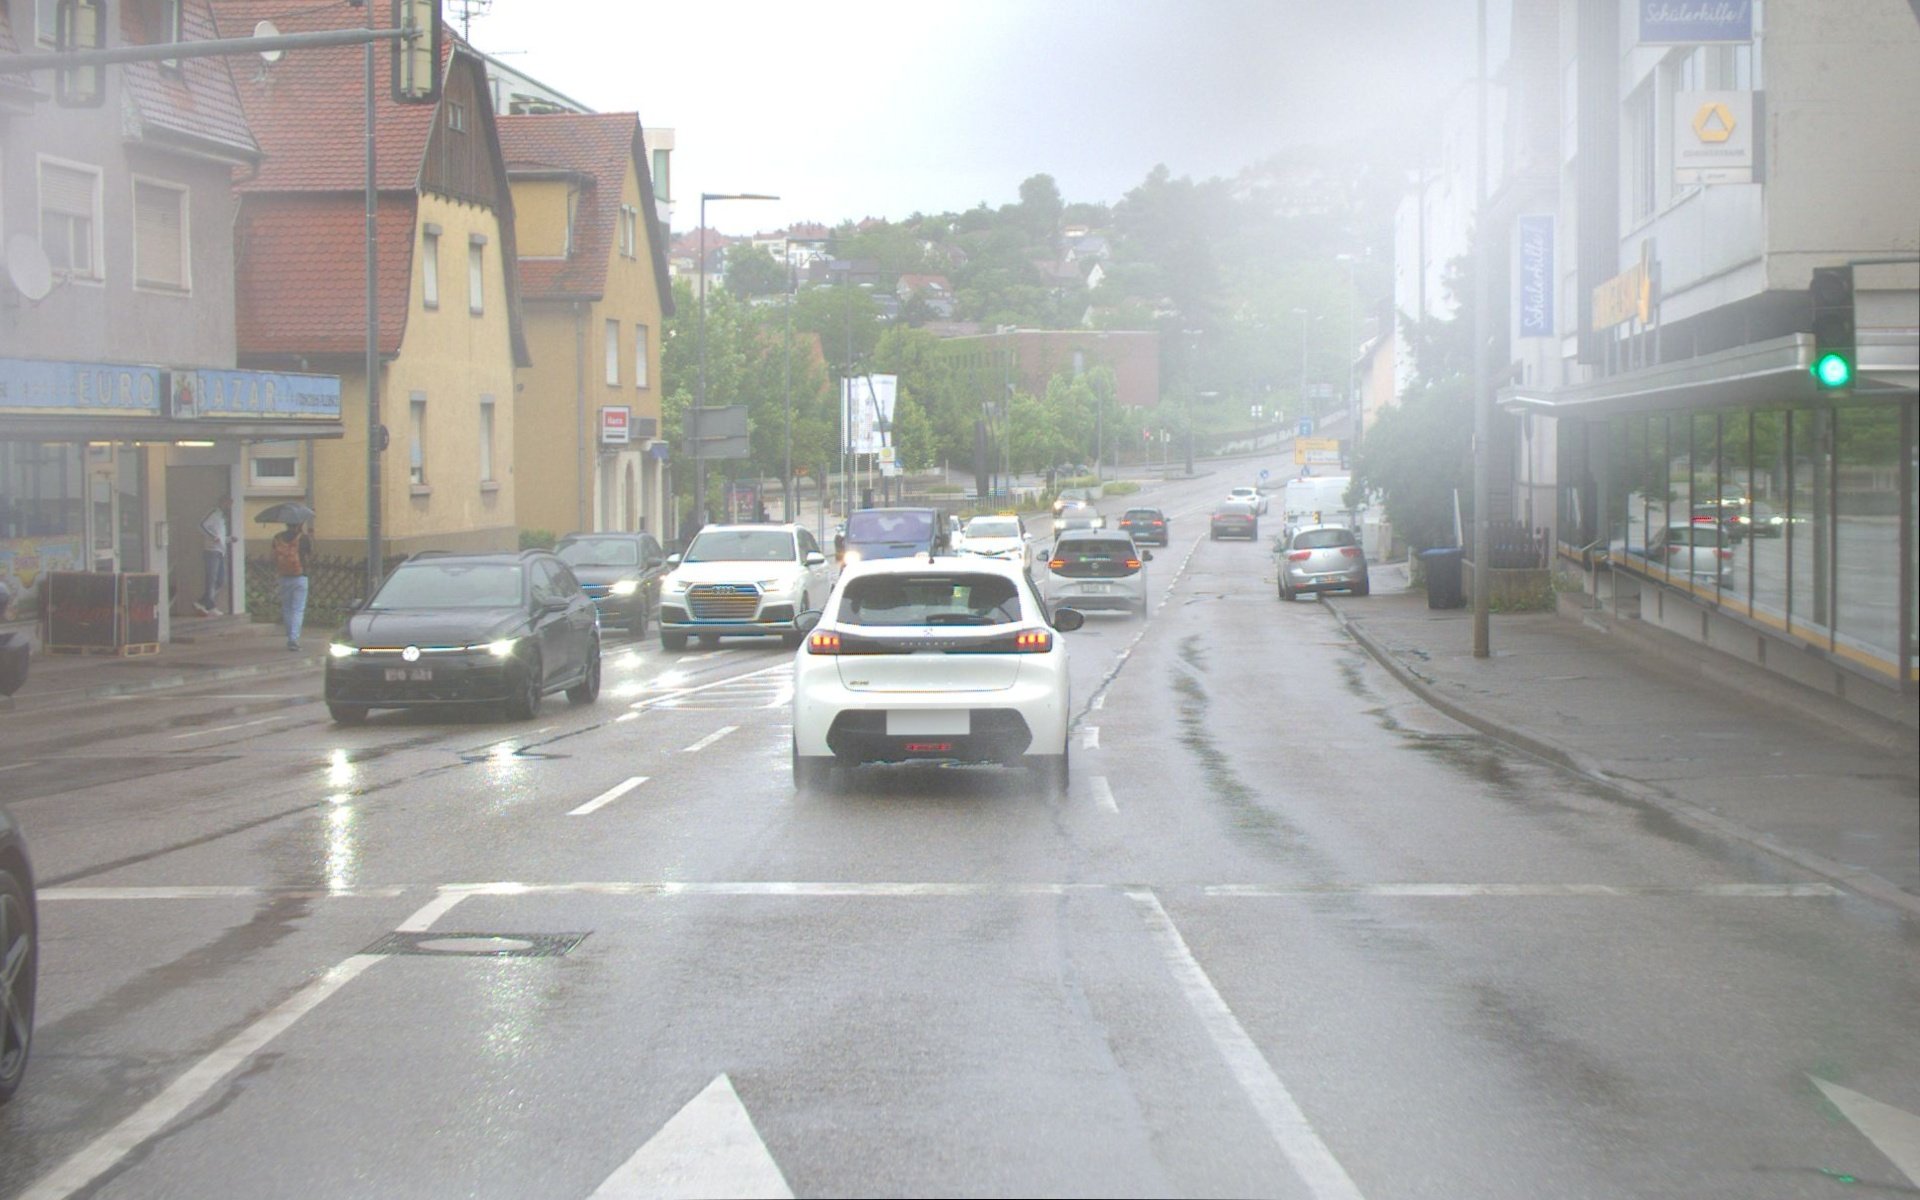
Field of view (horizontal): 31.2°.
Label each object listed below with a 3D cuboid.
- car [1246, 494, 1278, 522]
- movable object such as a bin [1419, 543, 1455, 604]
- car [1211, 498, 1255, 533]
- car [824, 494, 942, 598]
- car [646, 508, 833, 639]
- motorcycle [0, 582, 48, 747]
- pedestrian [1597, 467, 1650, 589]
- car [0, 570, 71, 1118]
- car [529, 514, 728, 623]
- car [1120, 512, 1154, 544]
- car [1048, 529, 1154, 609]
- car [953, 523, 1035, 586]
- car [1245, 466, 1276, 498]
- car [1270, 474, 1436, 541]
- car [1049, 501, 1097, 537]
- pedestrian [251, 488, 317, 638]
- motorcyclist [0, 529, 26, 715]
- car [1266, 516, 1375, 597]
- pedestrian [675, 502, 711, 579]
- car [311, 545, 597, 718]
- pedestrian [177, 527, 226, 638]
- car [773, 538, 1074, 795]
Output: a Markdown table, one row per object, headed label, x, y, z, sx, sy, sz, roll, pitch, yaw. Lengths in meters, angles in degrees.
| label | x | y | z | sx | sy | sz | roll | pitch | yaw |
| --- | --- | --- | --- | --- | --- | --- | --- | --- | --- |
| car | 16.390 | -4.979 | 186.554 | 1.648 | 1.480 | 3.366 | -1 | 1 | 4 |
| movable object such as a bin | 8.520 | -0.476 | 61.424 | 0.576 | 1.044 | 0.830 | -1 | 3 | 4 |
| car | 11.215 | -3.467 | 141.340 | 1.734 | 1.383 | 3.352 | 1 | 1 | 4 |
| car | -1.472 | -1.056 | 67.461 | 1.966 | 1.931 | 5.179 | -1 | 1 | 2 |
| car | -3.020 | -0.379 | 48.061 | 2.098 | 1.706 | 4.849 | -1 | 1 | 2 |
| motorcycle | -7.928 | 0.514 | 26.753 | 0.907 | 1.279 | 2.185 | -1 | 1 | 5 |
| pedestrian | 9.820 | -1.069 | 50.852 | 0.729 | 1.774 | 0.952 | 0 | 3 | 12 |
| car | -3.360 | 0.670 | 7.771 | 1.715 | 1.445 | 4.199 | -1 | 1 | -2 |
| car | -5.143 | -0.502 | 54.036 | 2.001 | 1.612 | 4.947 | -1 | 1 | 8 |
| car | 6.538 | -2.642 | 126.867 | 1.213 | 1.152 | 2.270 | 0 | 1 | 2 |
| car | 2.413 | -0.551 | 59.562 | 1.741 | 1.291 | 3.334 | -1 | 2 | 1 |
| car | 0.941 | -1.209 | 91.200 | 1.878 | 1.603 | 4.718 | 0 | 1 | 4 |
| car | 19.665 | -7.732 | 225.065 | 1.994 | 2.007 | 3.999 | -1 | 1 | 5 |
| car | 14.429 | -3.363 | 125.811 | 6.607 | 2.374 | 2.297 | -1 | 1 | -44 |
| car | 4.613 | -3.291 | 139.853 | 1.768 | 1.409 | 4.525 | -1 | 1 | 4 |
| pedestrian | -8.776 | -0.479 | 44.657 | 0.661 | 1.914 | 0.947 | 2 | 1 | -3 |
| motorcyclist | -7.893 | 0.176 | 26.872 | 0.785 | 1.451 | 1.139 | -1 | 0 | 5 |
| car | 7.588 | -0.904 | 72.748 | 2.011 | 1.616 | 4.360 | 0 | 0 | 2 |
| pedestrian | -6.225 | -1.385 | 80.204 | 0.800 | 1.782 | 0.882 | -1 | 0 | -5 |
| car | -4.492 | 0.240 | 31.123 | 1.758 | 1.429 | 4.380 | -1 | 1 | 2 |
| pedestrian | -10.674 | -0.252 | 48.405 | 0.543 | 1.552 | 0.446 | 0 | 1 | 5 |
| car | -0.152 | 0.382 | 22.299 | 1.691 | 1.514 | 3.932 | 0 | 0 | 3 |
